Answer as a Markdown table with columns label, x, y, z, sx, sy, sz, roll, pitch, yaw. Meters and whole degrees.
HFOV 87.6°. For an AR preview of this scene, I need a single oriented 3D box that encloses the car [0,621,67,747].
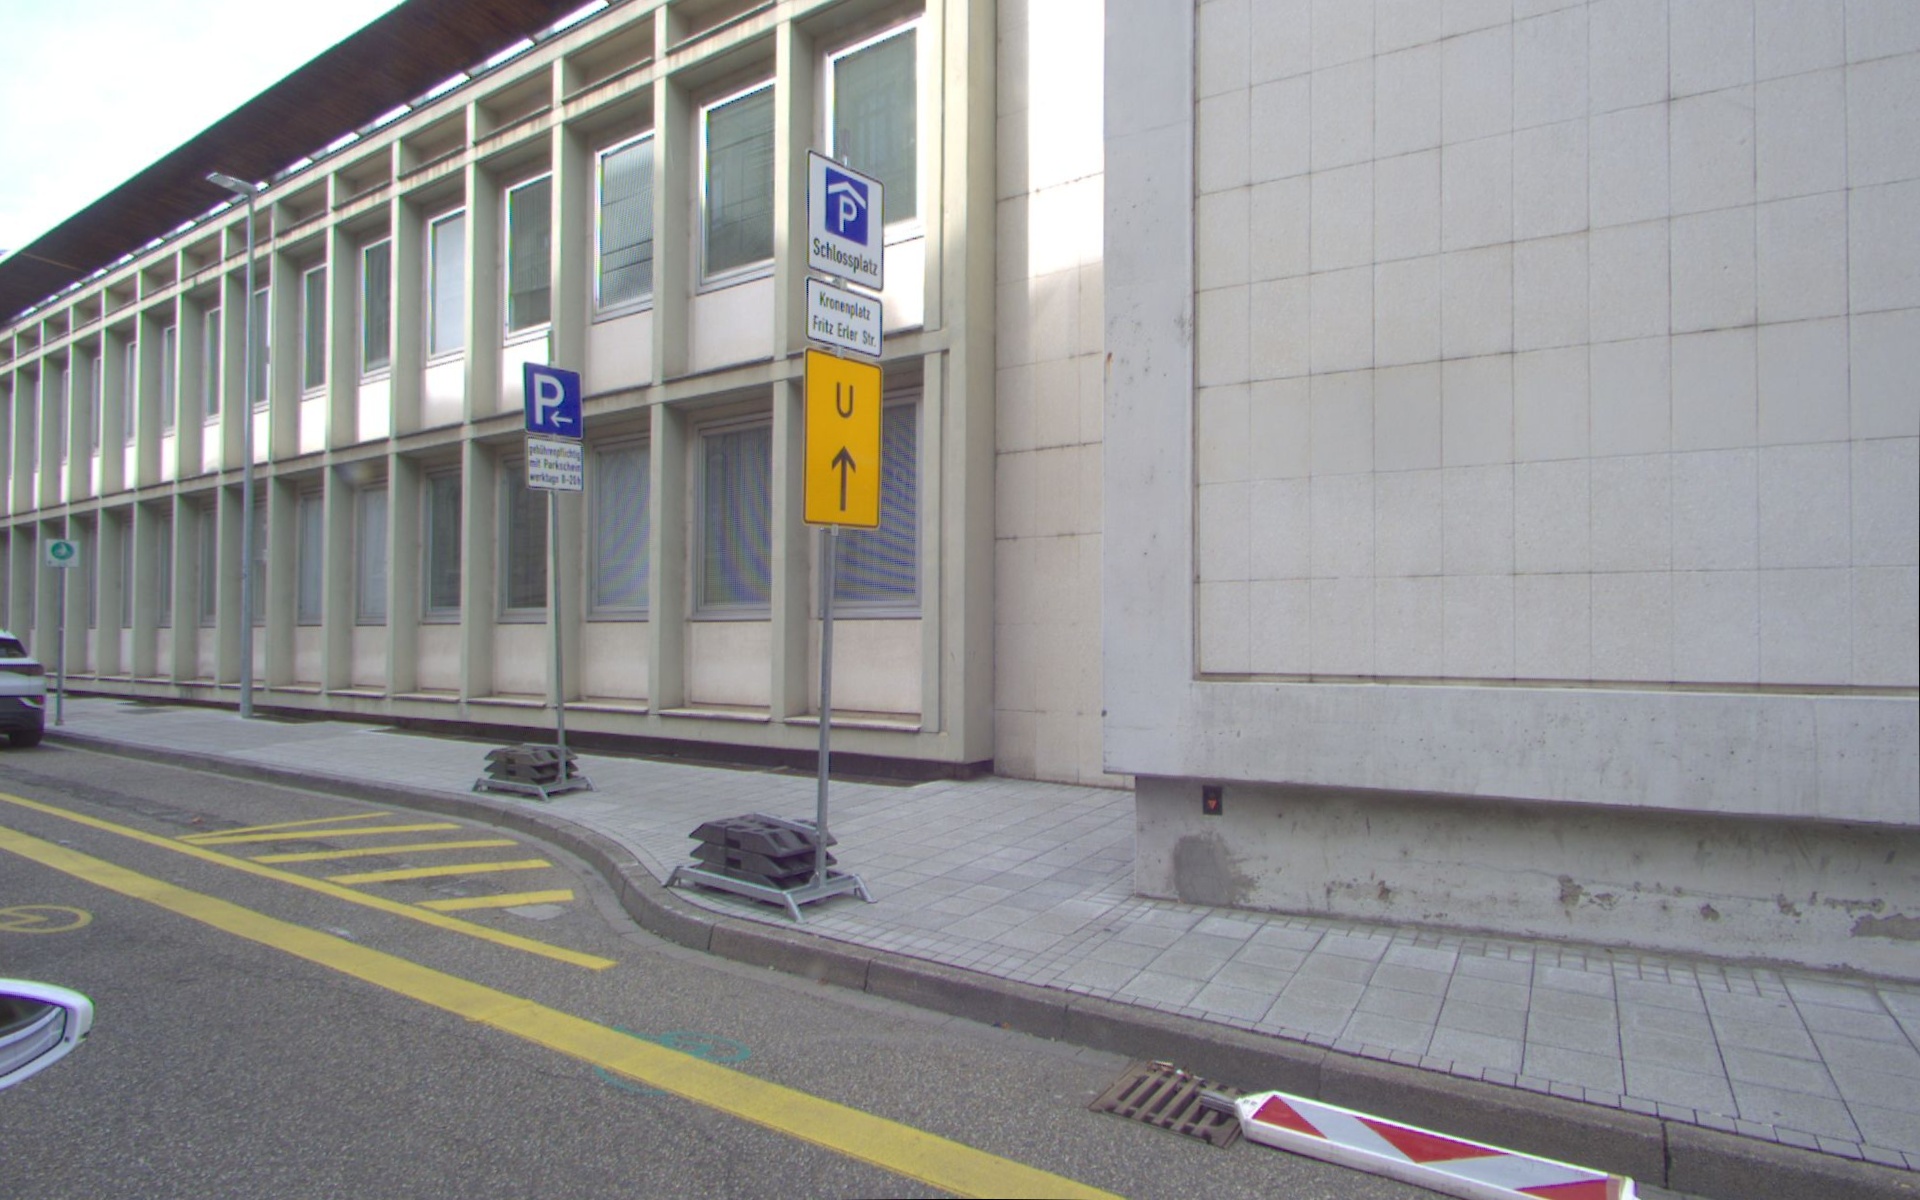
| label | x | y | z | sx | sy | sz | roll | pitch | yaw |
| --- | --- | --- | --- | --- | --- | --- | --- | --- | --- |
| car | -14.375 | 1.102 | 13.956 | 4.452 | 1.624 | 1.857 | -1 | -5 | 35 |
